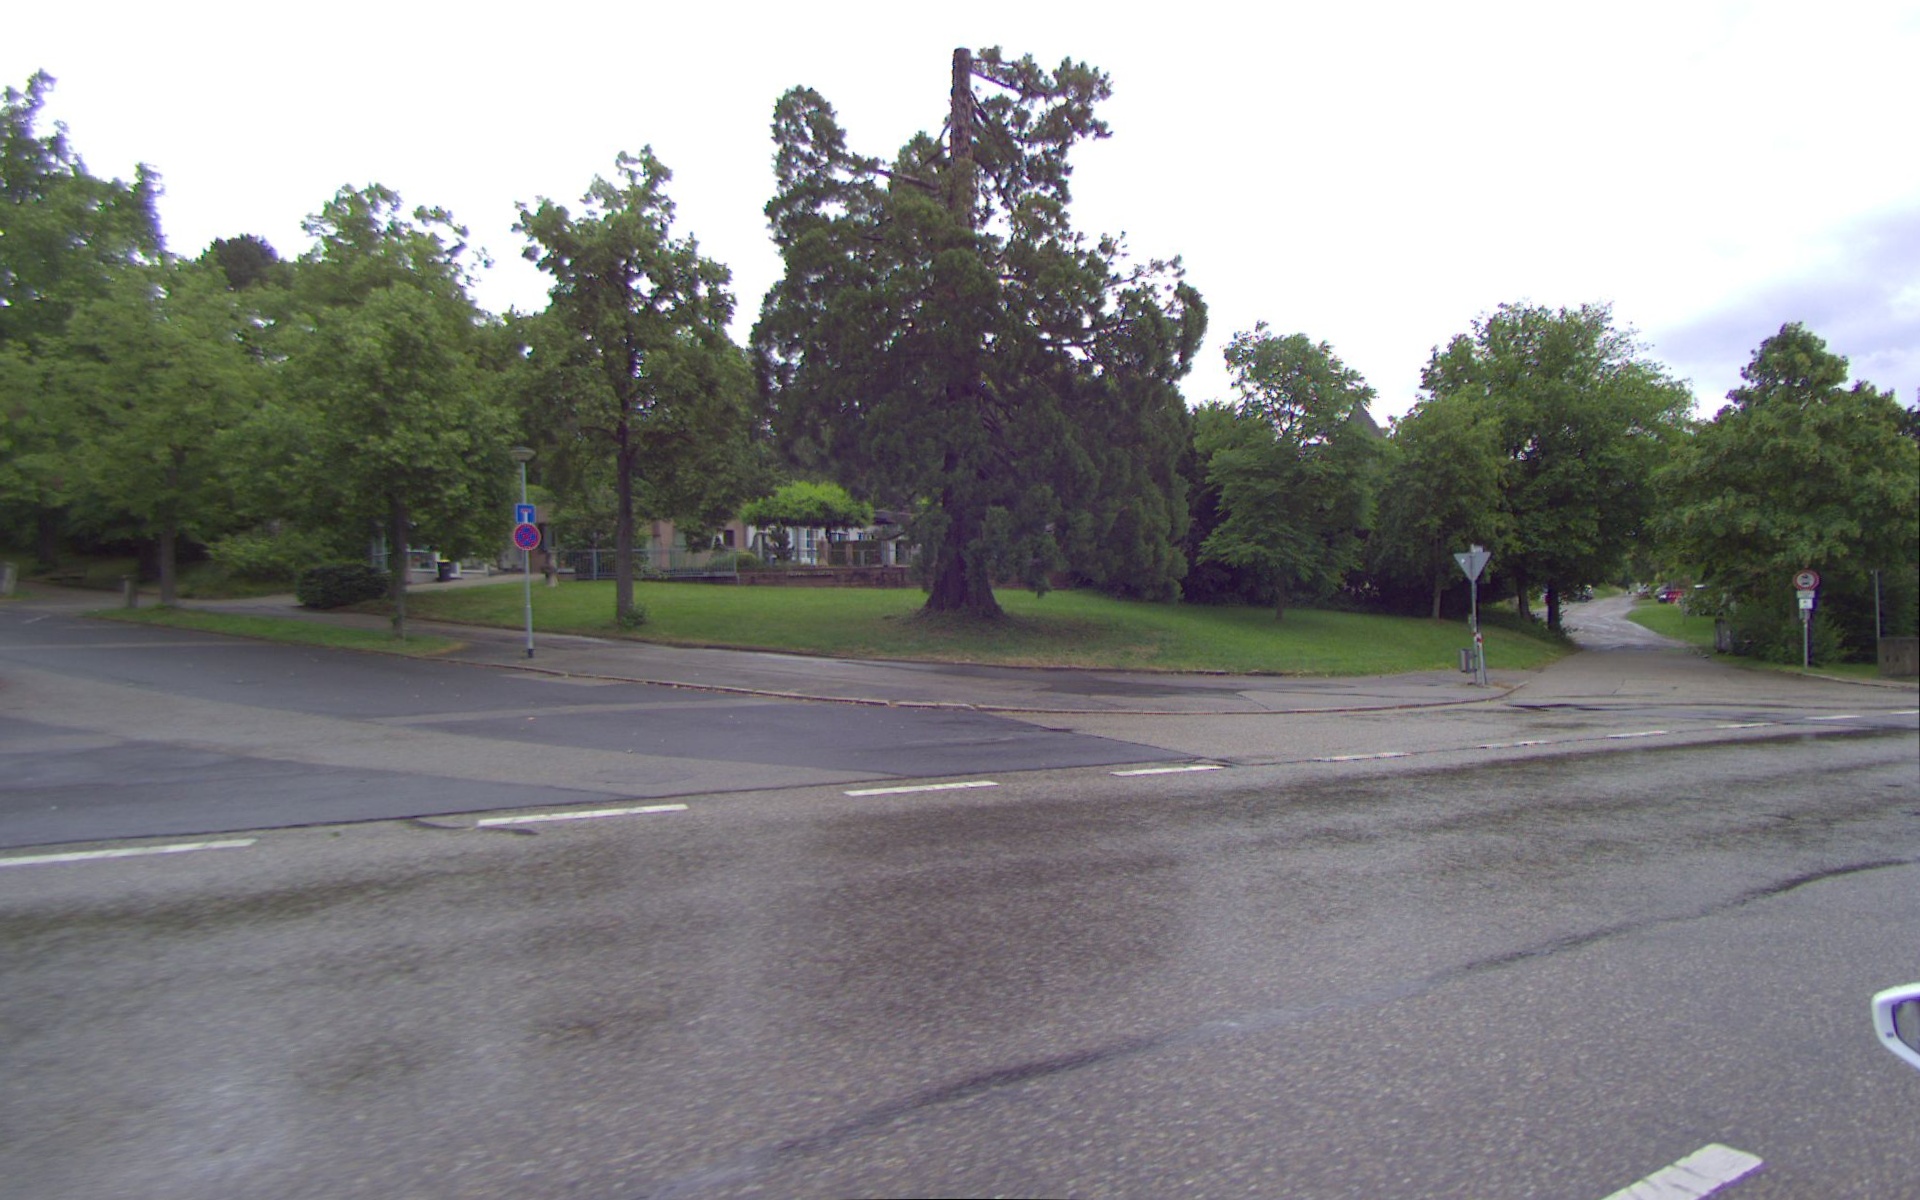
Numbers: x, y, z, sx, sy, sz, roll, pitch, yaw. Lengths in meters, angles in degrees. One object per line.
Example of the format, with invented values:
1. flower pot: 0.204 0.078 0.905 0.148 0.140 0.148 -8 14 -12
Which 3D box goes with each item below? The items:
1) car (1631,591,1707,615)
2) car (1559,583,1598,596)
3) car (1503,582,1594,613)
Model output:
1. car: 45.892 0.220 65.032 3.853 1.505 1.925 0 -2 42
2. car: 72.959 -1.246 118.519 3.930 1.403 1.723 2 1 32
3. car: 30.873 -0.110 52.712 3.853 1.505 1.925 0 -2 42
